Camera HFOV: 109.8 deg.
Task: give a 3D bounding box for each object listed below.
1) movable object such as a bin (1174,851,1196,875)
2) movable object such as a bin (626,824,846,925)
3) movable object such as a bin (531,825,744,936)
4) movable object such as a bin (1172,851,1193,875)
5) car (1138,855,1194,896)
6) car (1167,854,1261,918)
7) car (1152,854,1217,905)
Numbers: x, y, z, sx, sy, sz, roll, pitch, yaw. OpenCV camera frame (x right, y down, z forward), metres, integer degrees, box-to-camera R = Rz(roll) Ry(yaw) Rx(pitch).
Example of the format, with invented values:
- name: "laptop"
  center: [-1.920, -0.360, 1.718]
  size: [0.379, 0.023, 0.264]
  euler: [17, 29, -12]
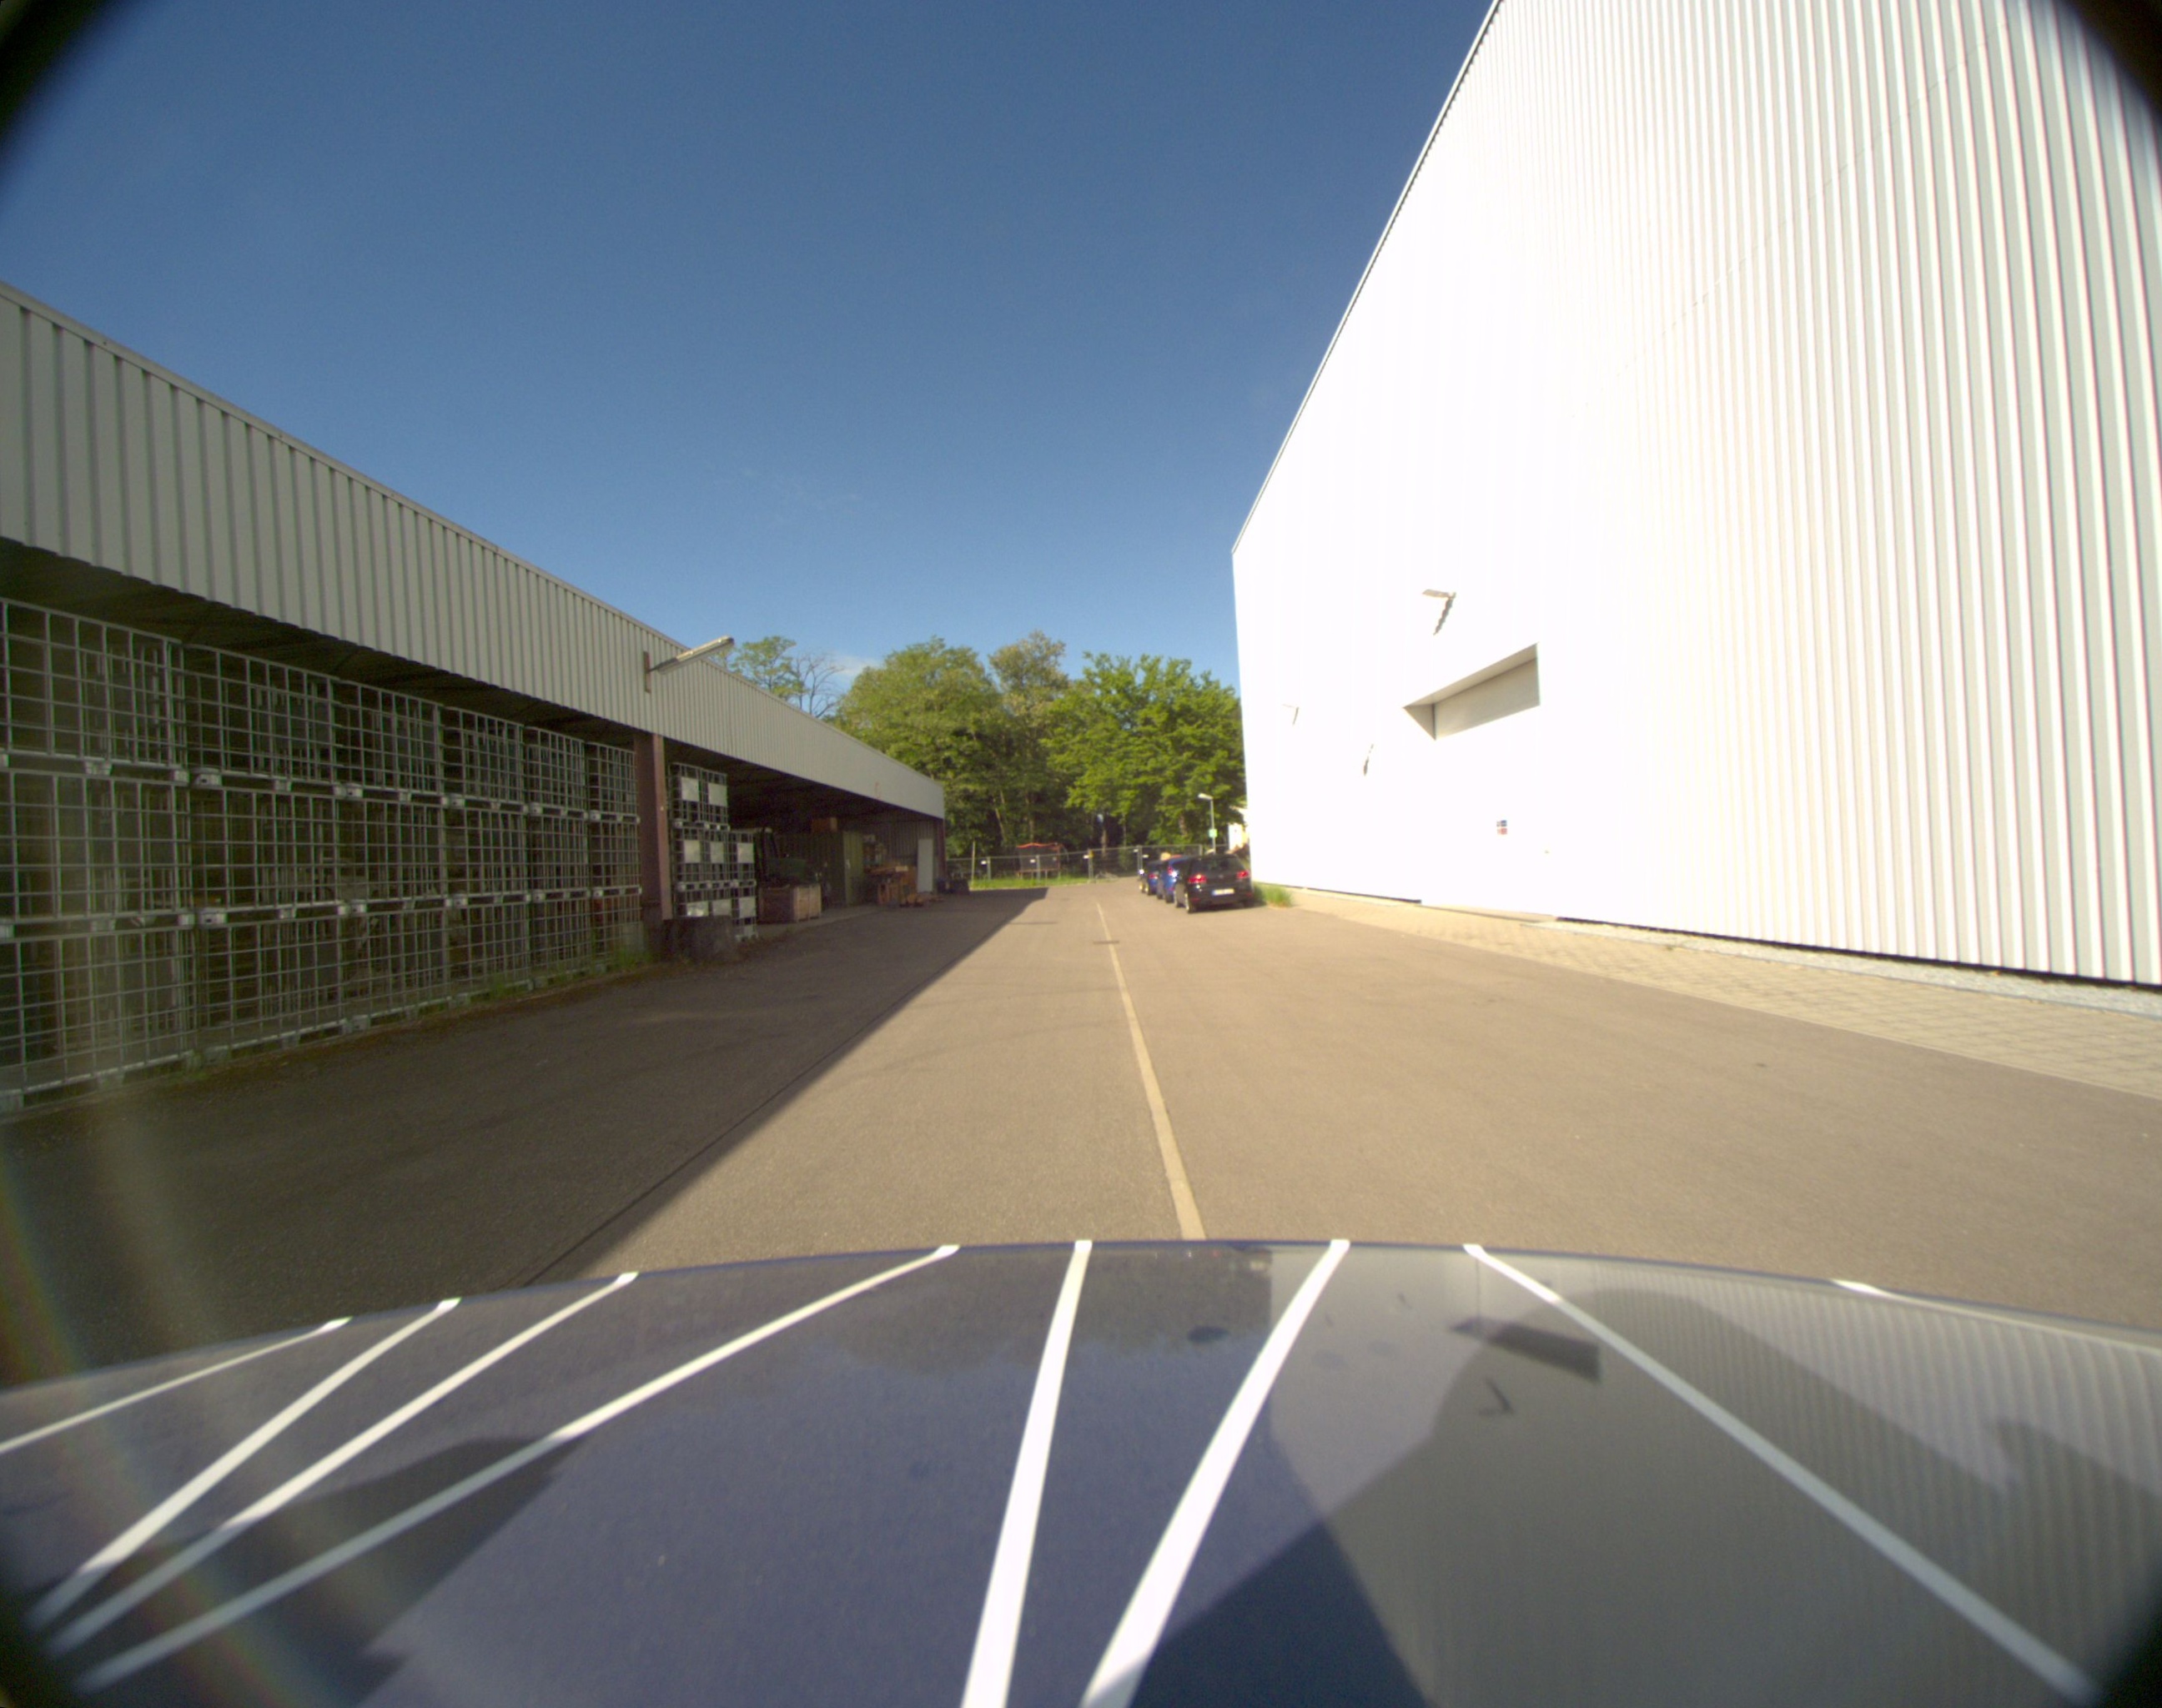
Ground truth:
- name: "movable object such as a bin"
  center: [6.415, 0.560, 46.938]
  size: [1.141, 1.426, 1.289]
  euler: [-2, 0, 1]
- name: "movable object such as a bin"
  center: [-11.184, 0.647, 25.055]
  size: [5.848, 2.908, 2.820]
  euler: [-2, 0, 1]
- name: "movable object such as a bin"
  center: [-12.556, 0.736, 21.790]
  size: [4.537, 2.814, 2.497]
  euler: [-2, 0, 1]
- name: "movable object such as a bin"
  center: [6.443, 0.568, 48.302]
  size: [1.141, 1.469, 1.280]
  euler: [-2, -1, 1]
- name: "car"
  center: [3.415, 0.871, 31.208]
  size: [1.716, 1.440, 3.798]
  euler: [-5, -1, -1]
- name: "car"
  center: [3.531, 0.814, 20.951]
  size: [1.760, 1.437, 4.315]
  euler: [-6, -1, 1]
- name: "car"
  center: [3.428, 0.832, 25.697]
  size: [1.552, 1.479, 3.522]
  euler: [-5, -1, -1]
